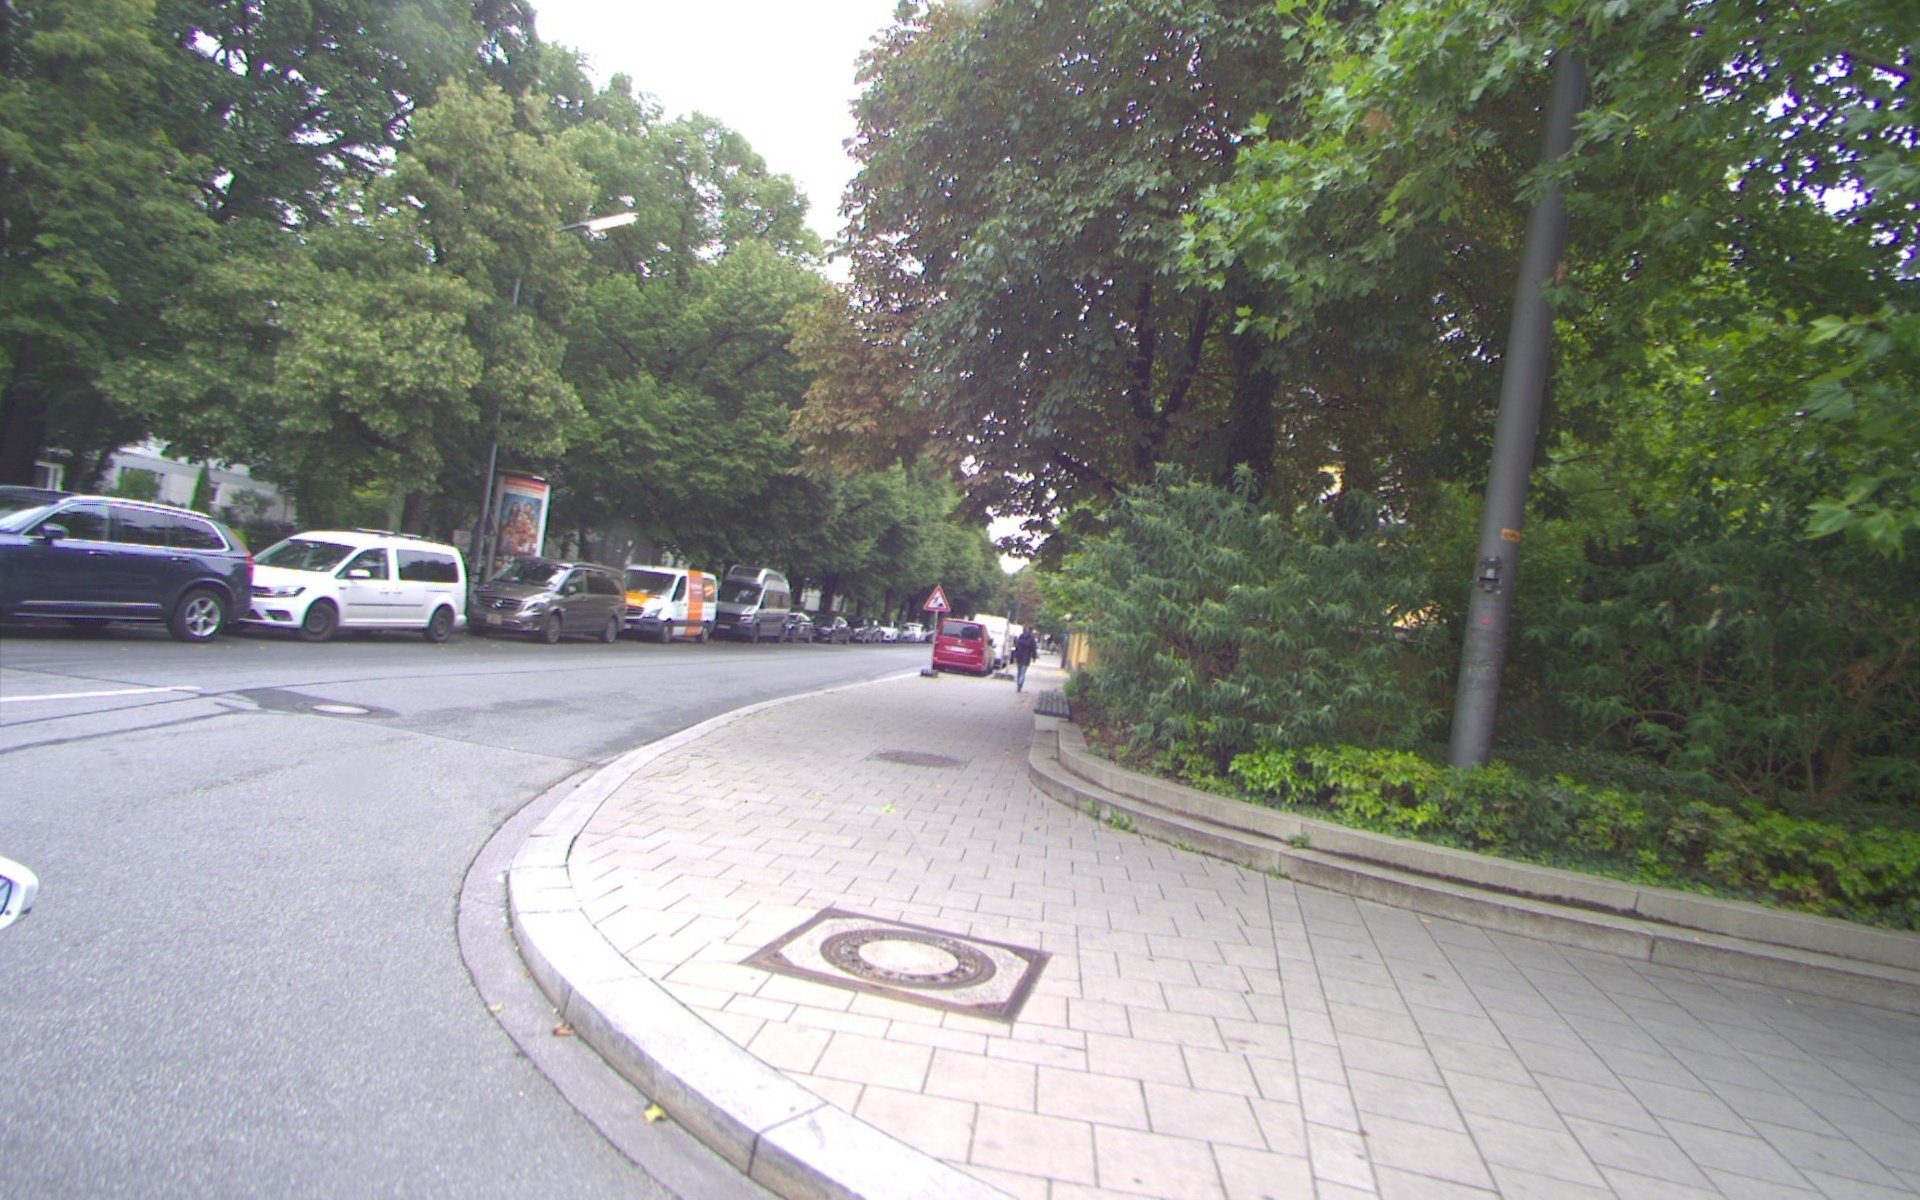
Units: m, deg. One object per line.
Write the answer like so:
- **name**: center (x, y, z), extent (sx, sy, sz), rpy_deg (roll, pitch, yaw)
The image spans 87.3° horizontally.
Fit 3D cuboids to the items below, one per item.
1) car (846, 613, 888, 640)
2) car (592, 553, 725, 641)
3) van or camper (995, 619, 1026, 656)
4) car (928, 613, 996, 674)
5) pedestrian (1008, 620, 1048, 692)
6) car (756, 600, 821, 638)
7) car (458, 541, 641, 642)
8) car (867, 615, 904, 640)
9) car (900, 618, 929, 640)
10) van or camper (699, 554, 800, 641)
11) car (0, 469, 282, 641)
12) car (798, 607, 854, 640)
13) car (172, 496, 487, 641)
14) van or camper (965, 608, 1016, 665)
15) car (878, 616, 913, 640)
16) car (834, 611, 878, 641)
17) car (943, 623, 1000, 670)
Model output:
- **car**: center (-5.986, 1.749, 65.333), extent (1.823, 1.491, 4.003), rpy_deg (8, -1, 5)
- **car**: center (-9.207, 0.009, 31.248), extent (1.916, 2.299, 5.247), rpy_deg (7, -1, 5)
- **van or camper**: center (4.284, 3.104, 84.236), extent (2.082, 2.765, 5.247), rpy_deg (7, -1, 5)
- **car**: center (0.161, 1.571, 36.736), extent (1.960, 1.860, 4.717), rpy_deg (7, -1, 4)
- **pedestrian**: center (1.899, 1.532, 27.917), extent (0.860, 1.853, 1.052), rpy_deg (7, 0, 6)
- **car**: center (-7.803, 0.909, 46.114), extent (1.845, 1.433, 4.003), rpy_deg (8, -1, 5)
- **car**: center (-9.676, -0.093, 24.273), extent (1.858, 1.956, 5.211), rpy_deg (7, -1, 3)
- **car**: center (-5.257, 1.941, 71.242), extent (1.823, 1.491, 4.003), rpy_deg (8, -1, 5)
- **car**: center (-3.891, 2.518, 87.011), extent (1.823, 1.582, 4.003), rpy_deg (8, -1, 5)
- **van or camper**: center (-8.255, 0.027, 40.154), extent (1.969, 2.979, 6.015), rpy_deg (7, -1, 5)
- **car**: center (-11.050, -0.538, 12.037), extent (1.962, 1.813, 4.918), rpy_deg (7, -1, 7)
- **car**: center (-6.836, 1.249, 51.597), extent (1.845, 1.363, 4.003), rpy_deg (8, -1, 5)
- **car**: center (-10.492, -0.380, 17.323), extent (1.800, 1.941, 4.853), rpy_deg (7, -1, 7)
- **van or camper**: center (1.630, 1.920, 52.321), extent (2.098, 2.576, 5.247), rpy_deg (7, -1, 5)
- **car**: center (-4.844, 2.149, 75.989), extent (1.823, 1.491, 4.003), rpy_deg (8, -1, 5)
- **car**: center (-6.179, 1.549, 60.220), extent (1.823, 1.491, 4.003), rpy_deg (8, -1, 4)
- **car**: center (0.546, 1.916, 41.984), extent (1.960, 1.628, 4.325), rpy_deg (7, -1, 4)
